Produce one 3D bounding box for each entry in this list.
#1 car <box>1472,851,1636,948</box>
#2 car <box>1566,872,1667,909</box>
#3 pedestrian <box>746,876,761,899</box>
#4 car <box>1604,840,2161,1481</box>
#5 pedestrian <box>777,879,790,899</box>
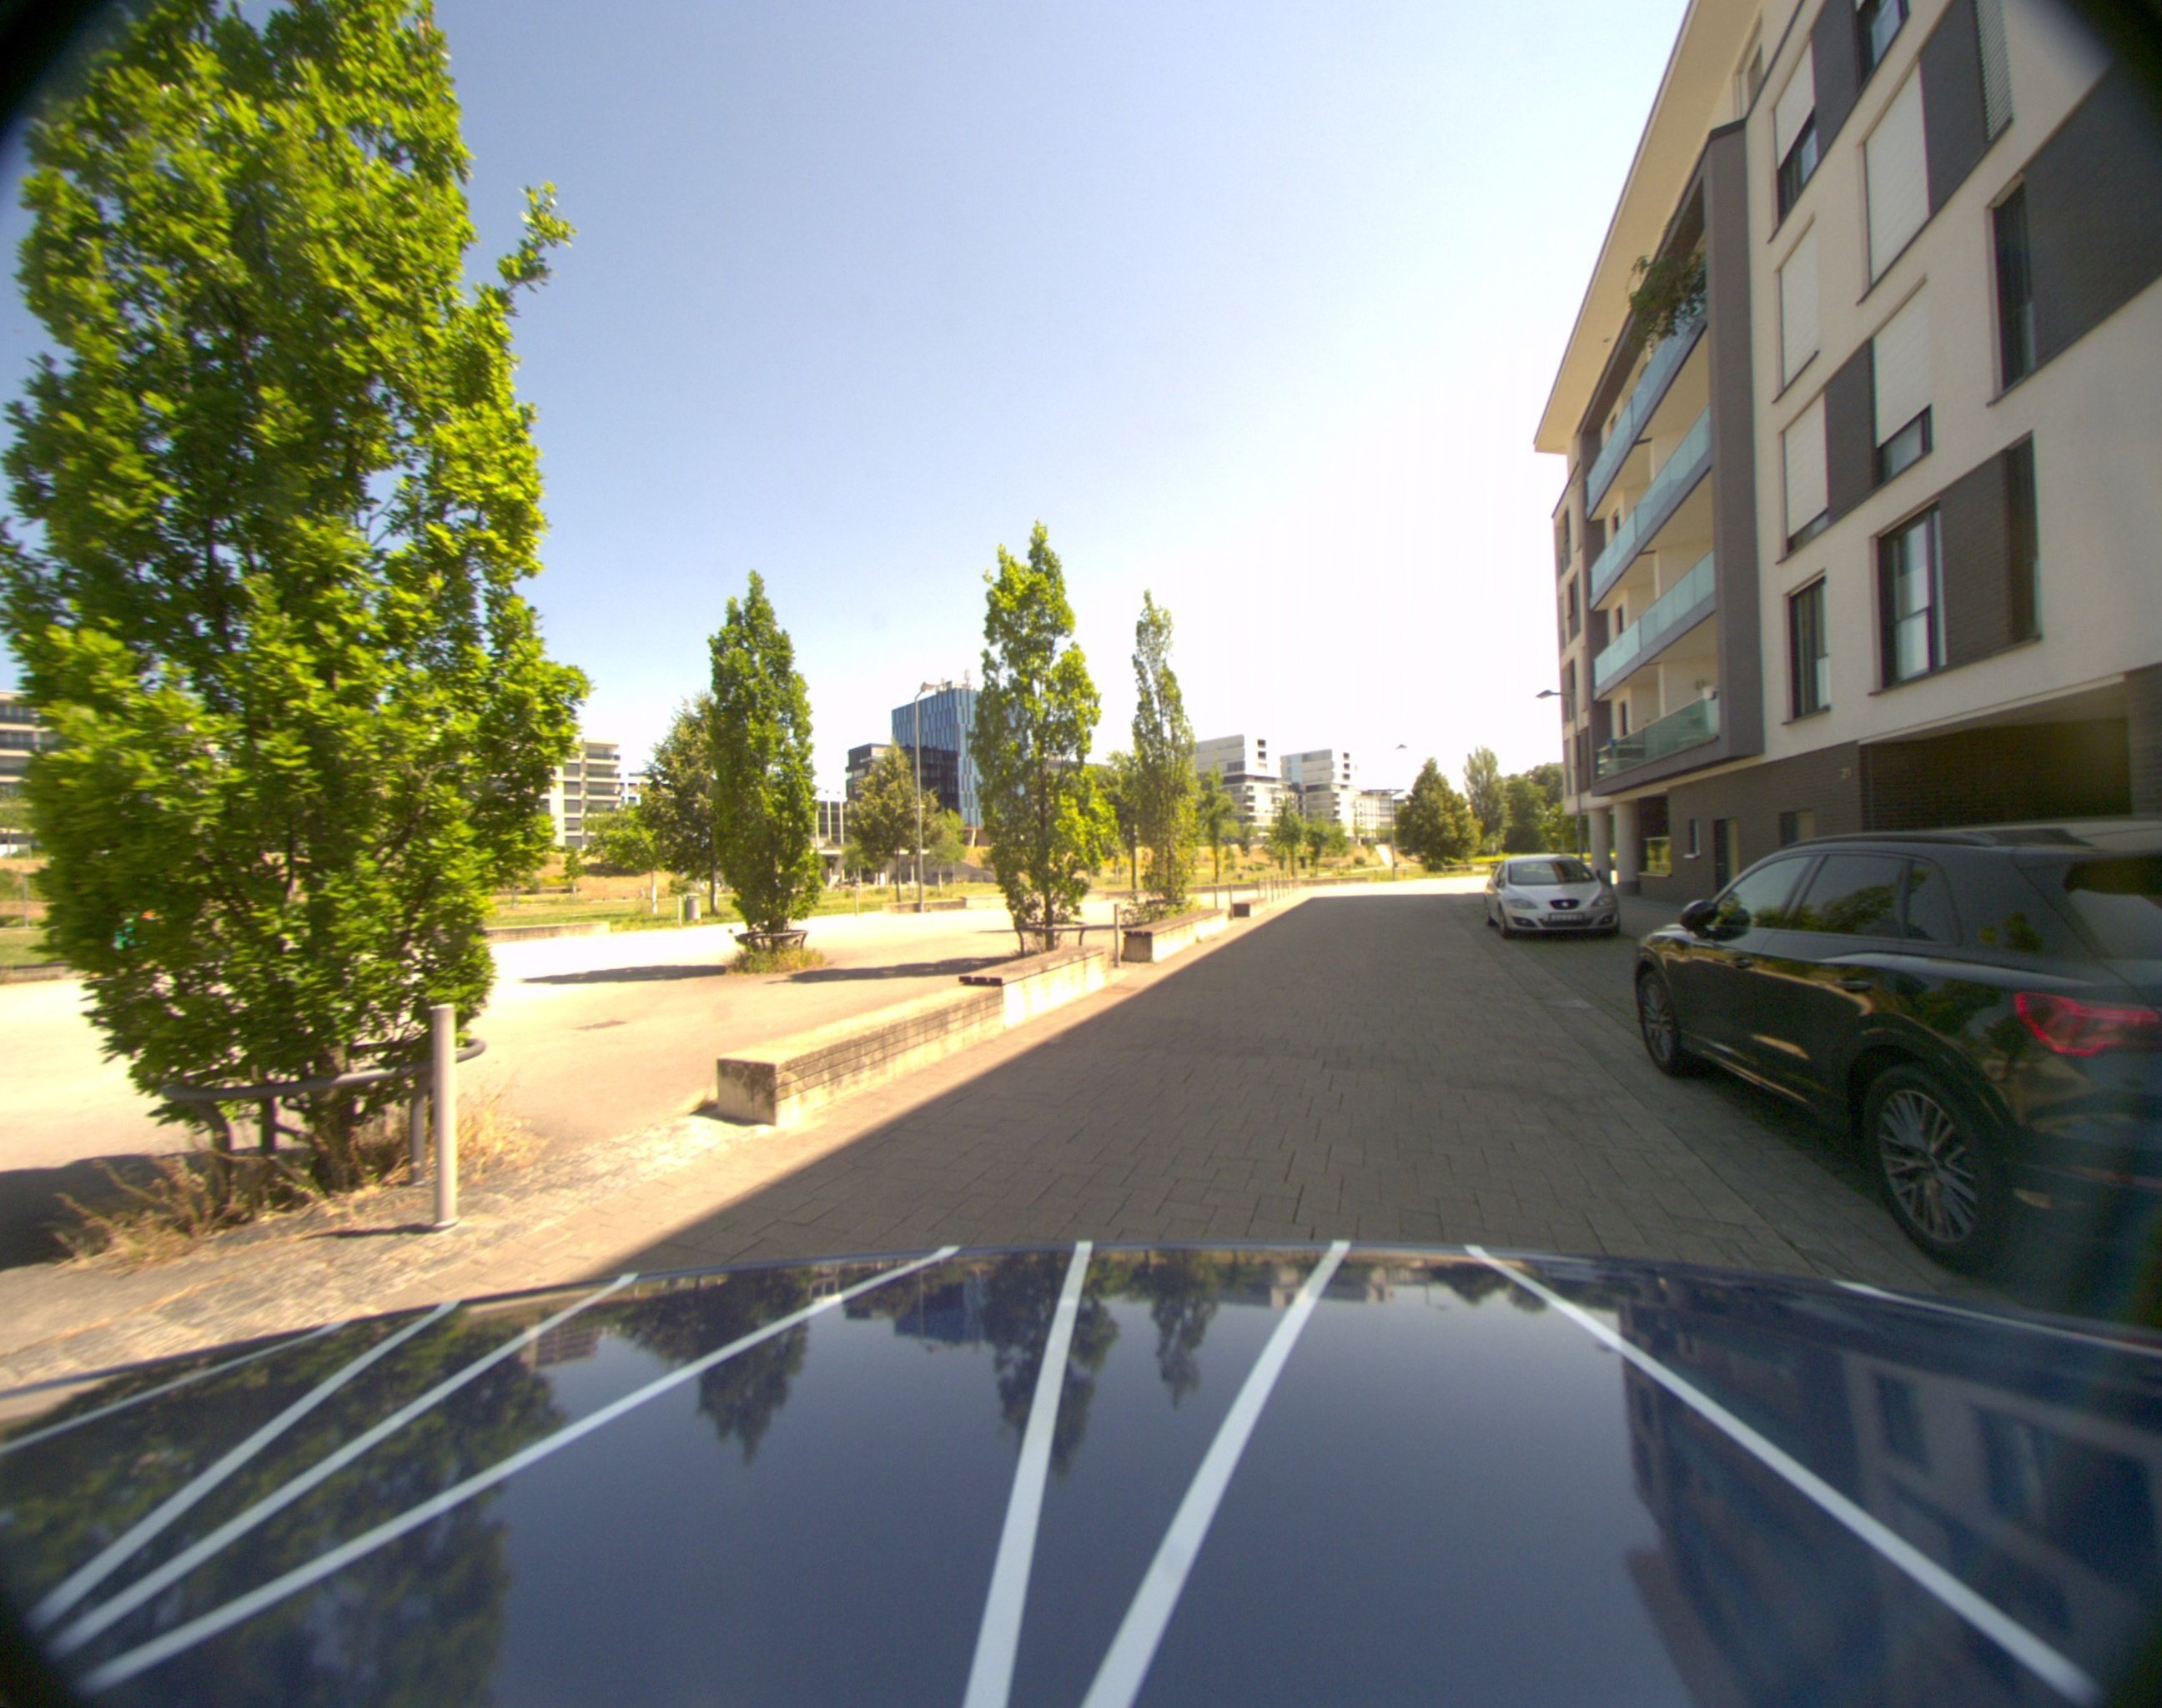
[{"bbox_3d":[8.639,0.766,14.260,1.784,1.496,4.121,-4,-2,21],"label":"car"},{"bbox_3d":[28.890,1.966,41.111,3.996,1.772,2.001,-2,-1,2],"label":"car"},{"bbox_3d":[-25.422,2.571,58.965,0.814,1.717,0.615,-2,0,0],"label":"pedestrian"},{"bbox_3d":[4.169,0.744,3.511,1.775,1.510,4.403,-4,-1,20],"label":"car"},{"bbox_3d":[-26.005,3.095,66.488,0.814,1.717,0.615,-2,0,0],"label":"pedestrian"}]
